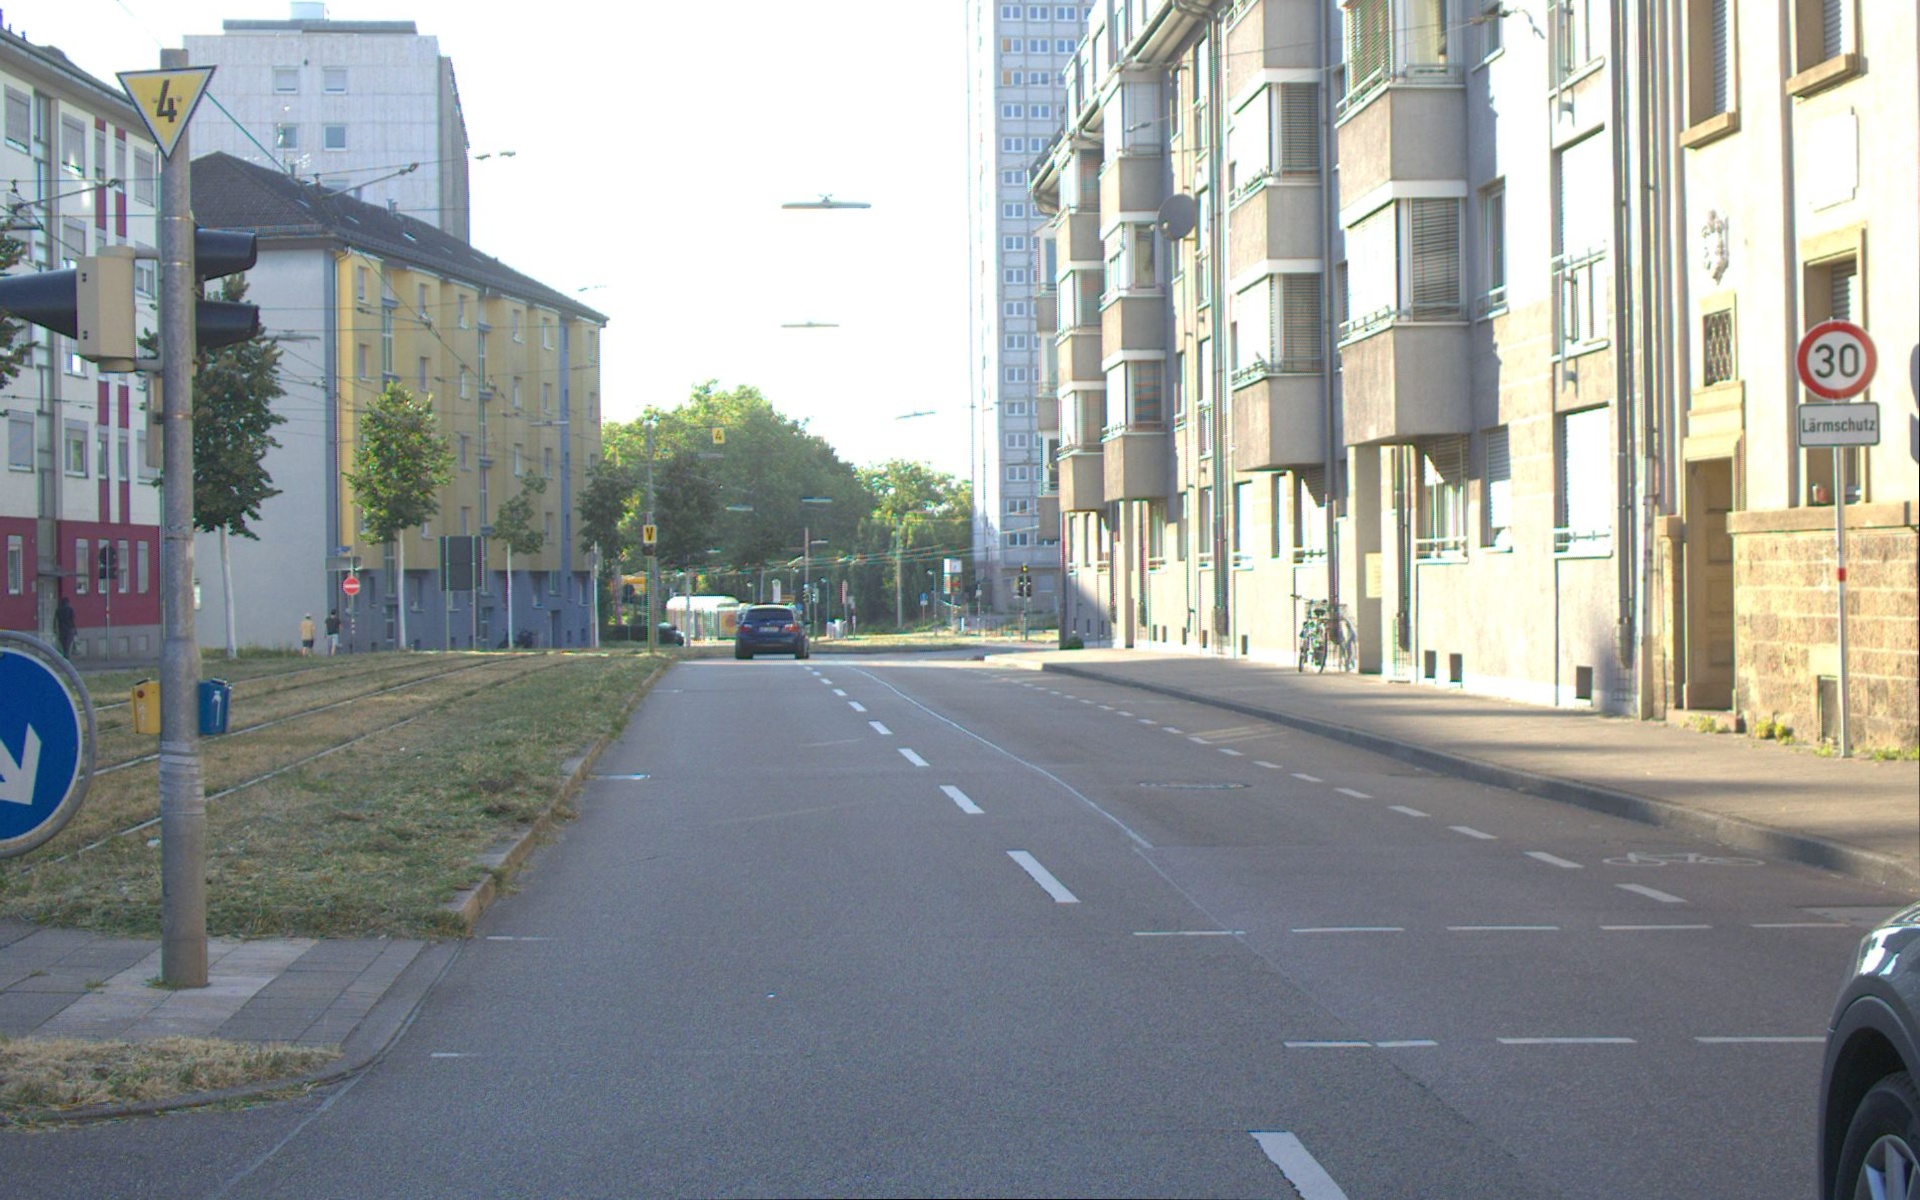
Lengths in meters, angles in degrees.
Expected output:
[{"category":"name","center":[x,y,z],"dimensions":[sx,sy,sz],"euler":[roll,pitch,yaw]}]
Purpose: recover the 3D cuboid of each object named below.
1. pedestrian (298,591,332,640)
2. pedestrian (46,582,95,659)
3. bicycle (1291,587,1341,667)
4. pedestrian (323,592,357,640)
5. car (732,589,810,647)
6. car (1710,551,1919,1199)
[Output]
[{"category":"pedestrian","center":[-22.163,0.533,118.131],"dimensions":[0.962,1.688,1.011],"euler":[1,-1,2]},{"category":"pedestrian","center":[-23.429,0.537,90.568],"dimensions":[1.005,2.029,0.886],"euler":[1,-1,3]},{"category":"bicycle","center":[4.974,0.376,48.114],"dimensions":[0.383,1.092,1.504],"euler":[-1,0,-5]},{"category":"pedestrian","center":[-21.348,0.549,118.365],"dimensions":[0.962,1.664,1.011],"euler":[1,-1,2]},{"category":"car","center":[-4.909,0.470,89.855],"dimensions":[1.926,1.451,4.328],"euler":[1,0,-2]},{"category":"car","center":[2.422,0.713,4.455],"dimensions":[1.697,1.547,4.226],"euler":[1,0,-4]}]
